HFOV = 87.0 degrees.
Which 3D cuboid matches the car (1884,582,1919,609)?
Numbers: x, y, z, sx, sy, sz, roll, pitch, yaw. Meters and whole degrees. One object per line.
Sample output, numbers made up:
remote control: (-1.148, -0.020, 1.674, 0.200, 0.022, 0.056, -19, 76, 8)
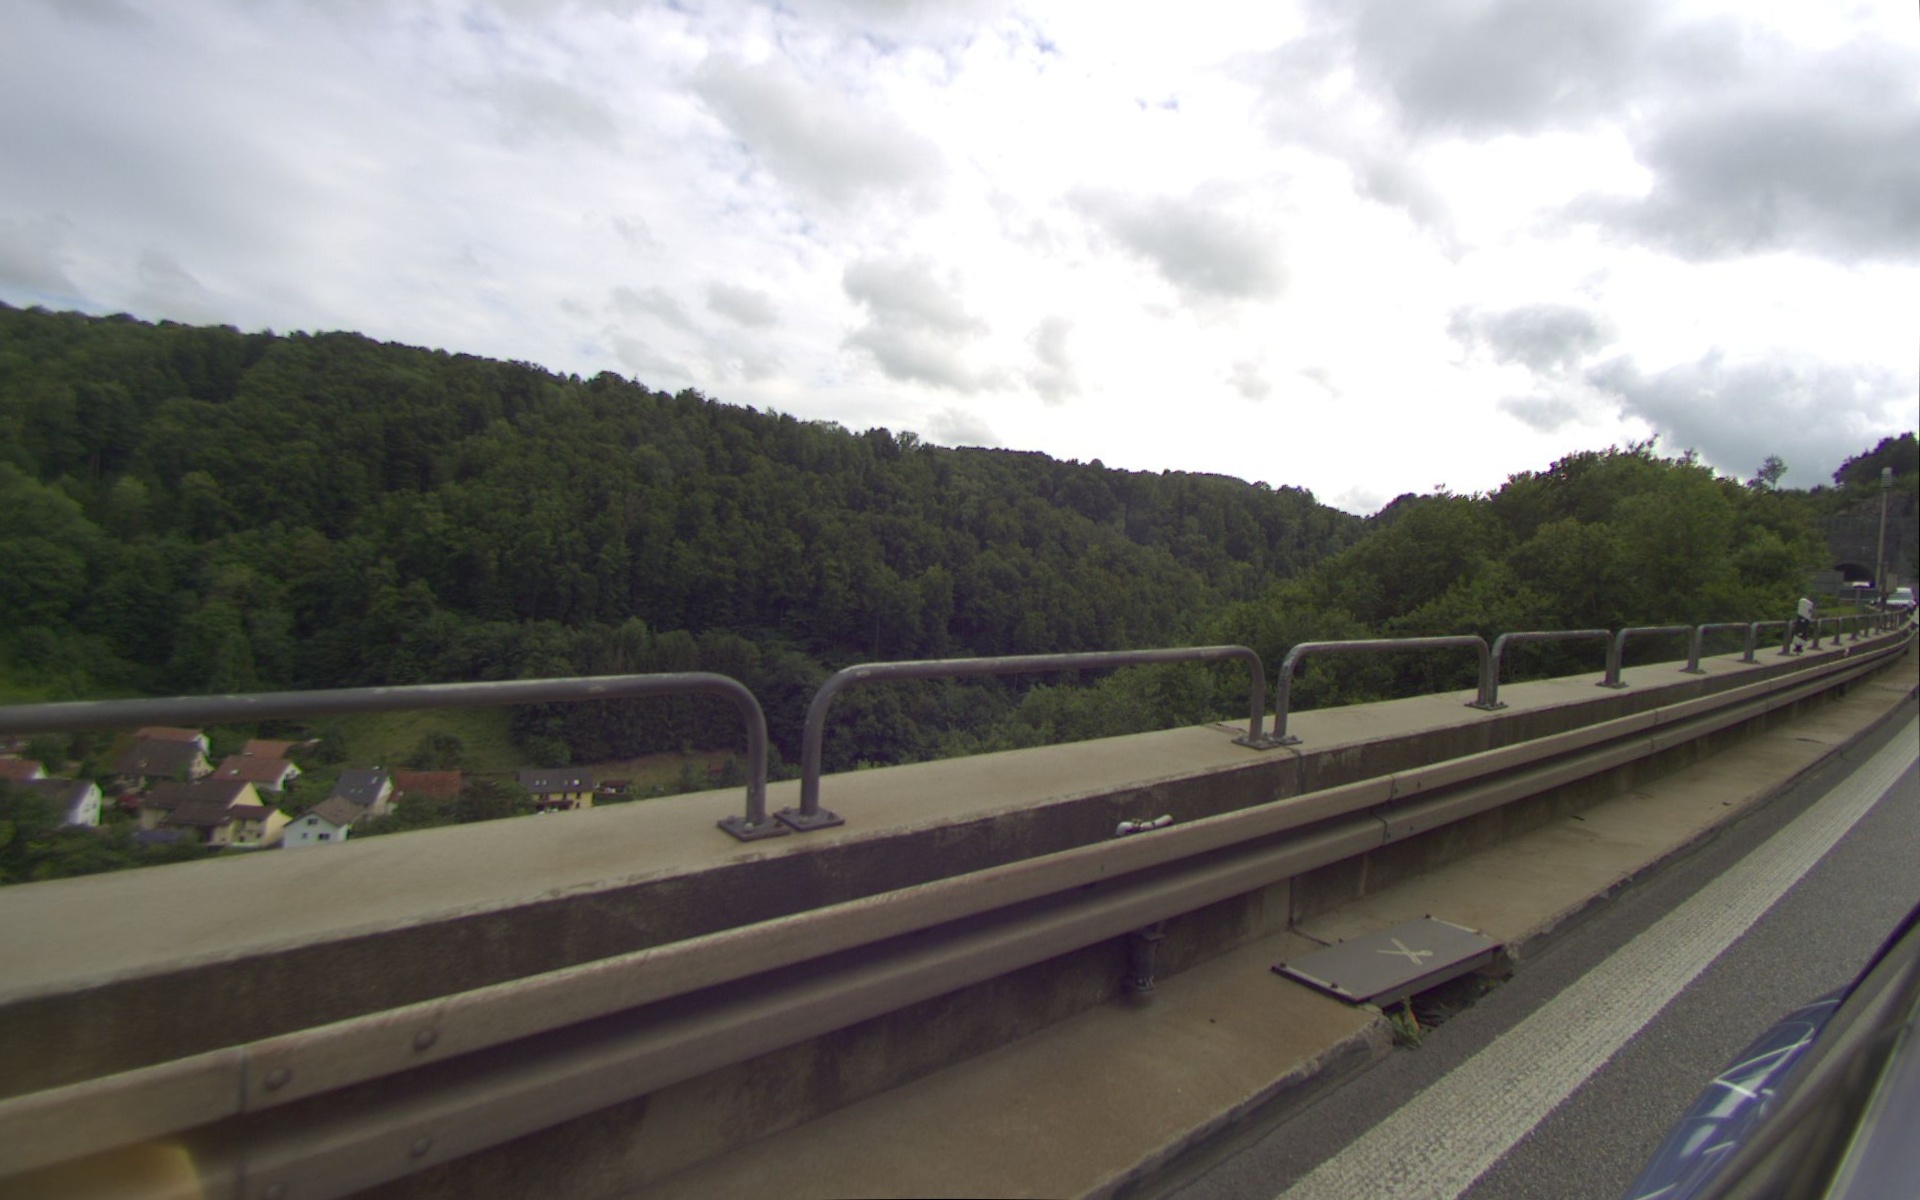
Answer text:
car: (89.719, -0.426, 96.050, 2.664, 2.453, 6.032, 1, 0, 40)
